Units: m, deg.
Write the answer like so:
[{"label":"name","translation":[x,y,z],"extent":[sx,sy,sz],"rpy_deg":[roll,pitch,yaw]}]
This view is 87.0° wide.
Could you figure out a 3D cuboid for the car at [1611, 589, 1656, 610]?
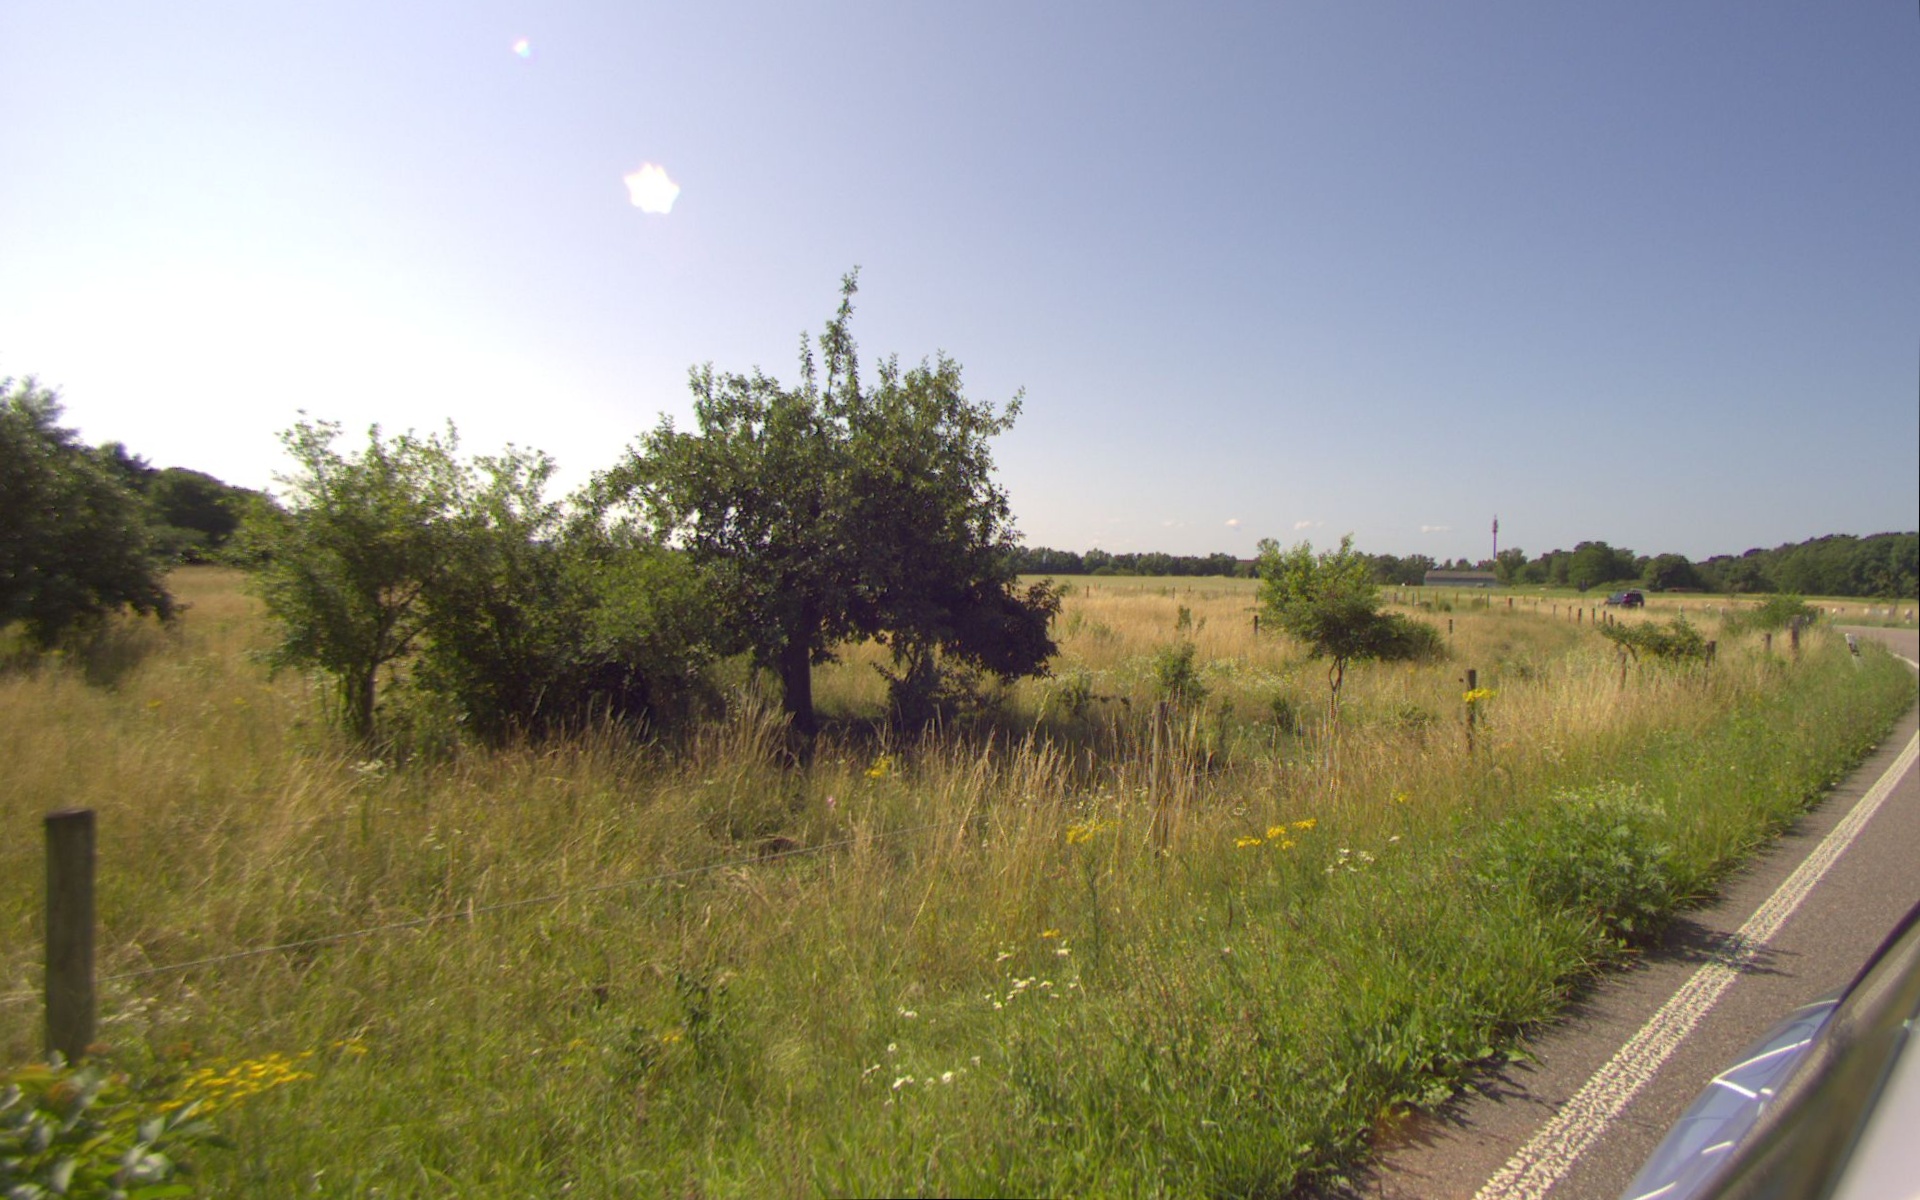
[{"label":"car","translation":[57.046,-0.056,85.789],"extent":[1.763,1.652,4.143],"rpy_deg":[3,0,13]}]
